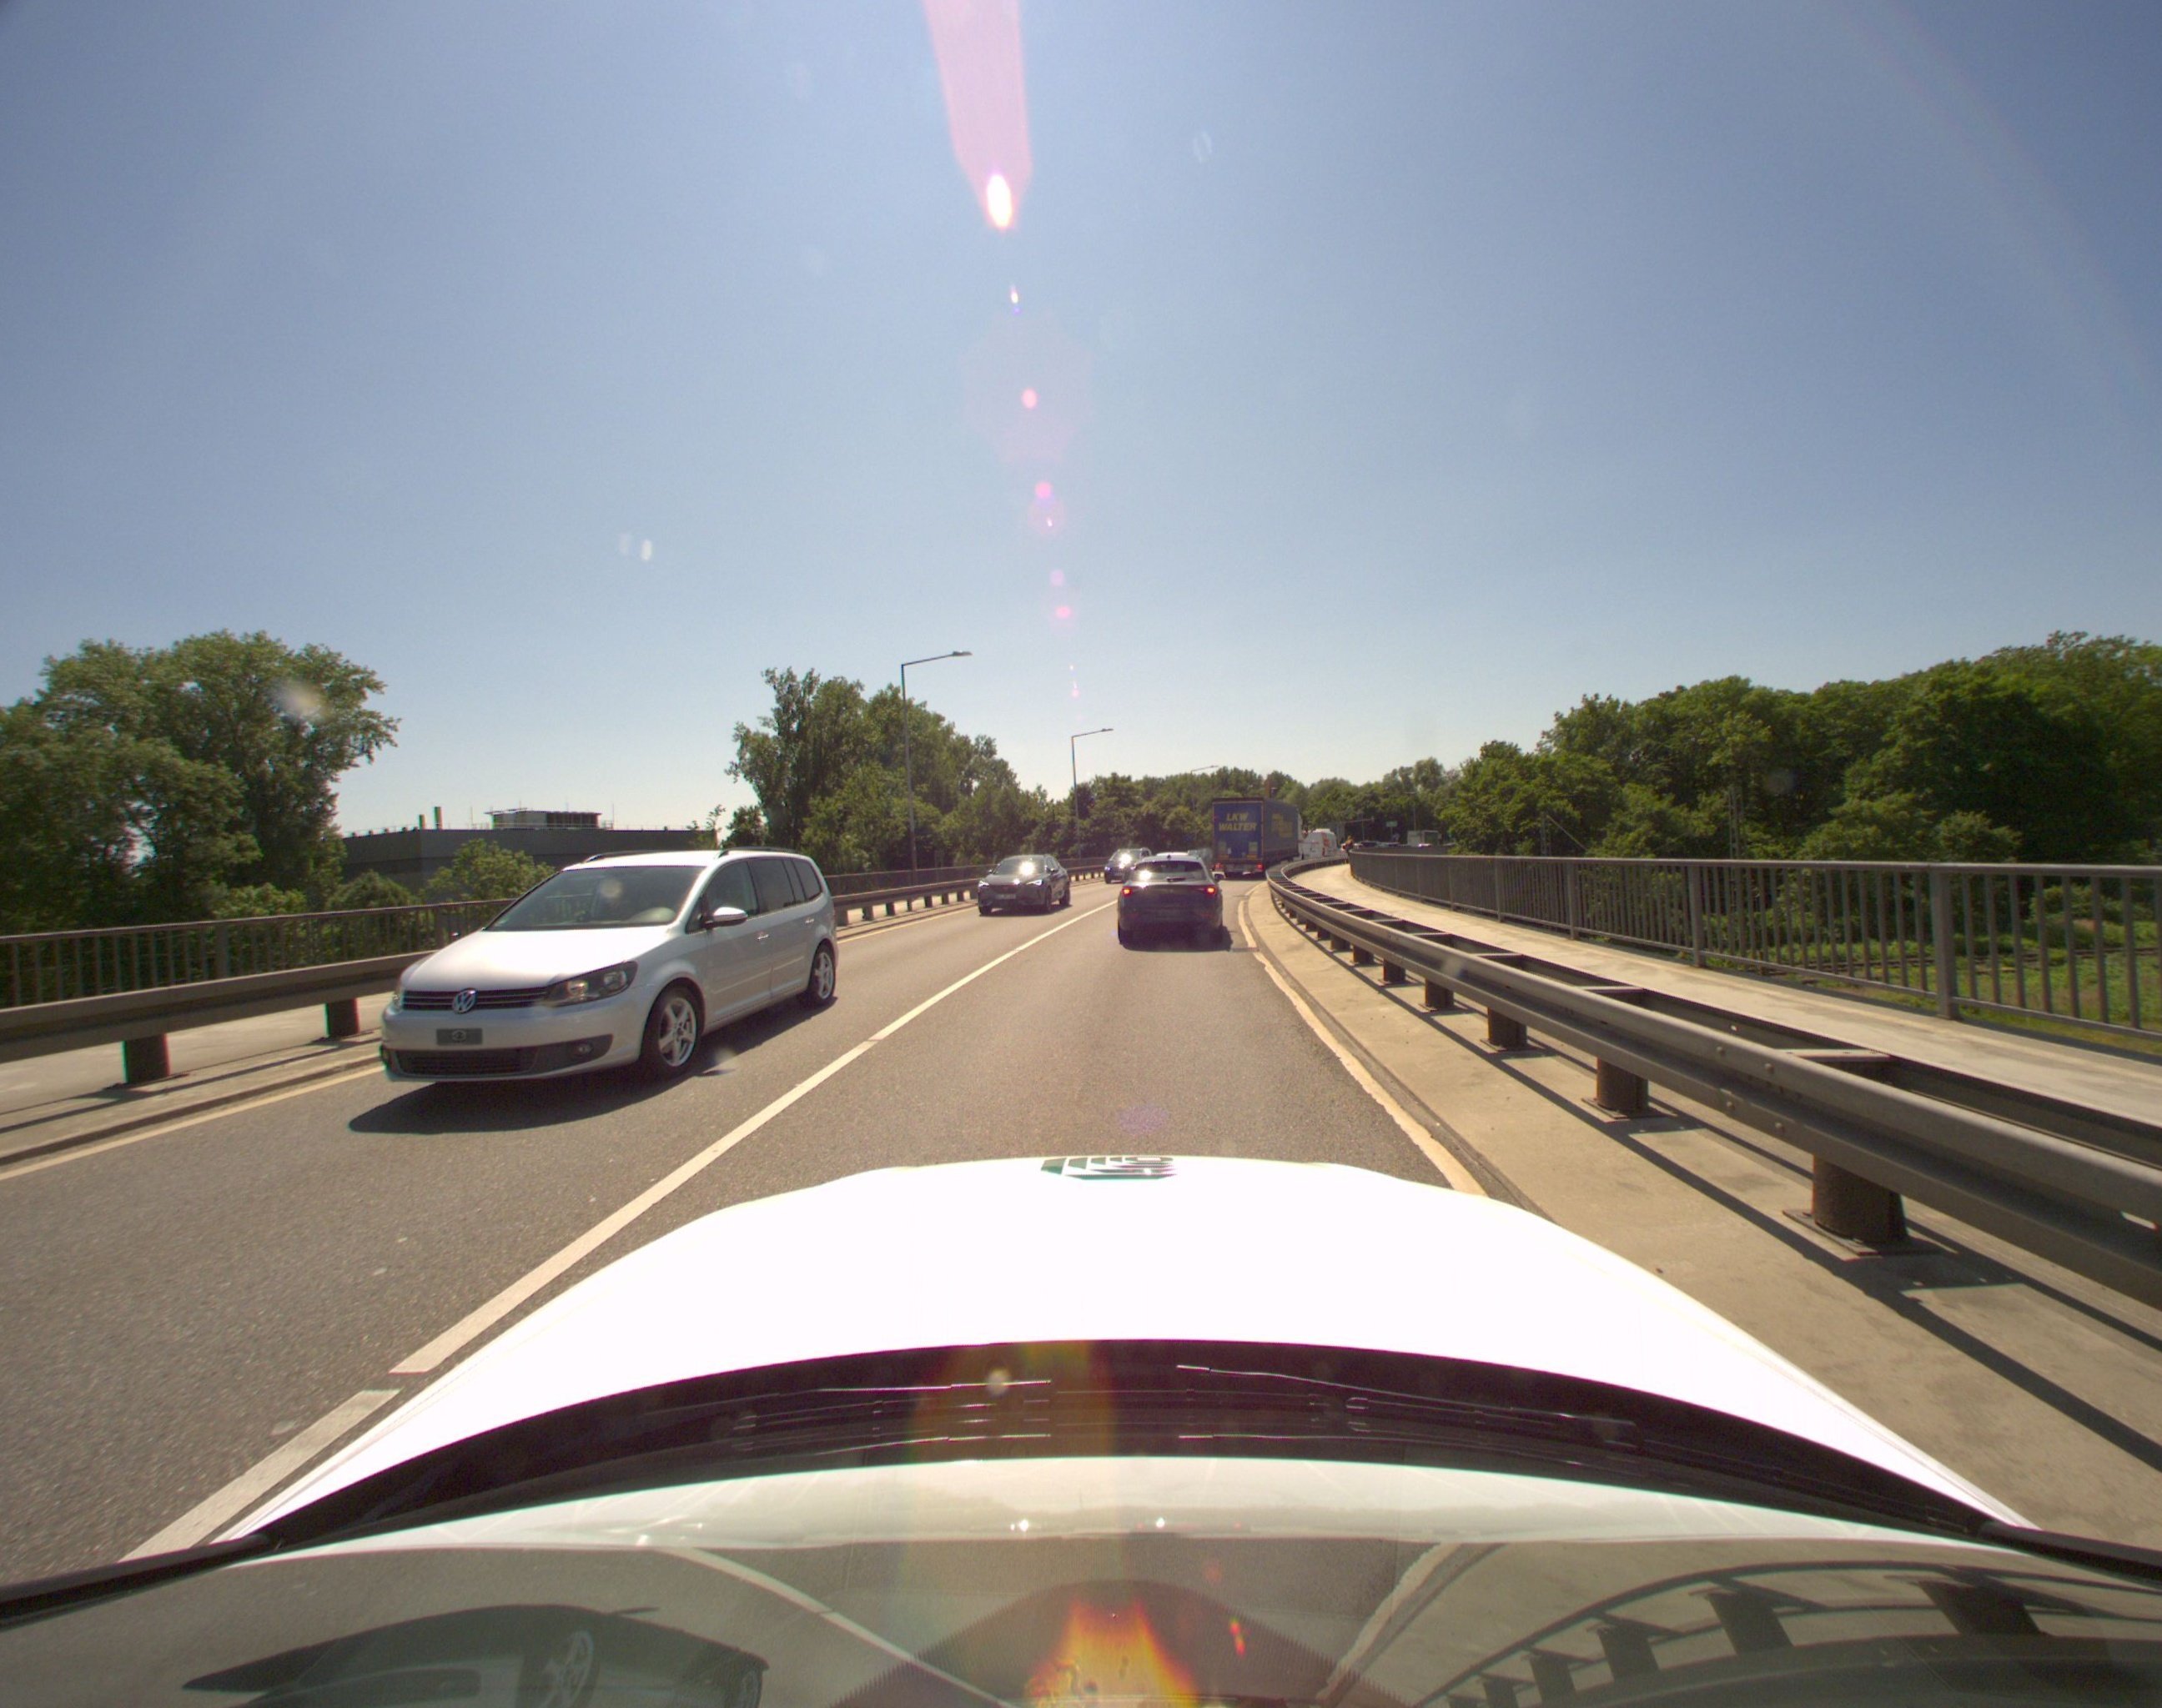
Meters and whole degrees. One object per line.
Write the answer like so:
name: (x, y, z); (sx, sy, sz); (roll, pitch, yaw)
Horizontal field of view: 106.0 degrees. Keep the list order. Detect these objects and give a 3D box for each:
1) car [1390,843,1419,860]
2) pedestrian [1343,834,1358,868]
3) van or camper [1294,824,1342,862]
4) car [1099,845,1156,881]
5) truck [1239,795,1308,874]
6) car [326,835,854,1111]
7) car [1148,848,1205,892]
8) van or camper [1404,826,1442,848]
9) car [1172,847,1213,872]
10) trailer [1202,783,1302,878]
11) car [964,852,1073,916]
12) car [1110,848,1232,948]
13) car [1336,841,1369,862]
car: (35.080, -0.272, 88.200); (1.870, 1.850, 4.025); (-2, -1, 38)
pedestrian: (15.941, -0.185, 48.088); (0.730, 1.967, 0.738); (-1, -1, 23)
van or camper: (18.382, -0.861, 62.971); (2.182, 2.711, 5.963); (-1, 1, 30)
car: (2.326, 0.407, 39.495); (1.892, 1.589, 4.017); (-3, -1, 16)
truck: (12.309, -1.124, 51.561); (3.143, 4.585, 7.435); (-1, -1, 21)
car: (-3.560, 0.729, 6.976); (1.707, 1.615, 4.124); (-2, 0, 5)
car: (3.438, 0.533, 28.847); (1.582, 1.461, 3.557); (-1, 0, 13)
van or camper: (42.511, -2.090, 101.191); (2.462, 2.292, 4.988); (5, 1, 44)
car: (7.237, 0.329, 52.403); (1.687, 1.510, 3.601); (-3, -1, 22)
trailer: (9.938, -1.110, 45.773); (3.107, 4.614, 13.017); (-1, 0, 22)
car: (-1.557, 0.746, 22.026); (1.875, 1.496, 4.327); (-2, 0, 10)
car: (1.526, 0.665, 14.387); (1.837, 1.498, 3.763); (-1, 0, 4)
car: (24.012, -0.208, 71.992); (1.870, 1.850, 4.025); (-1, -1, 32)
